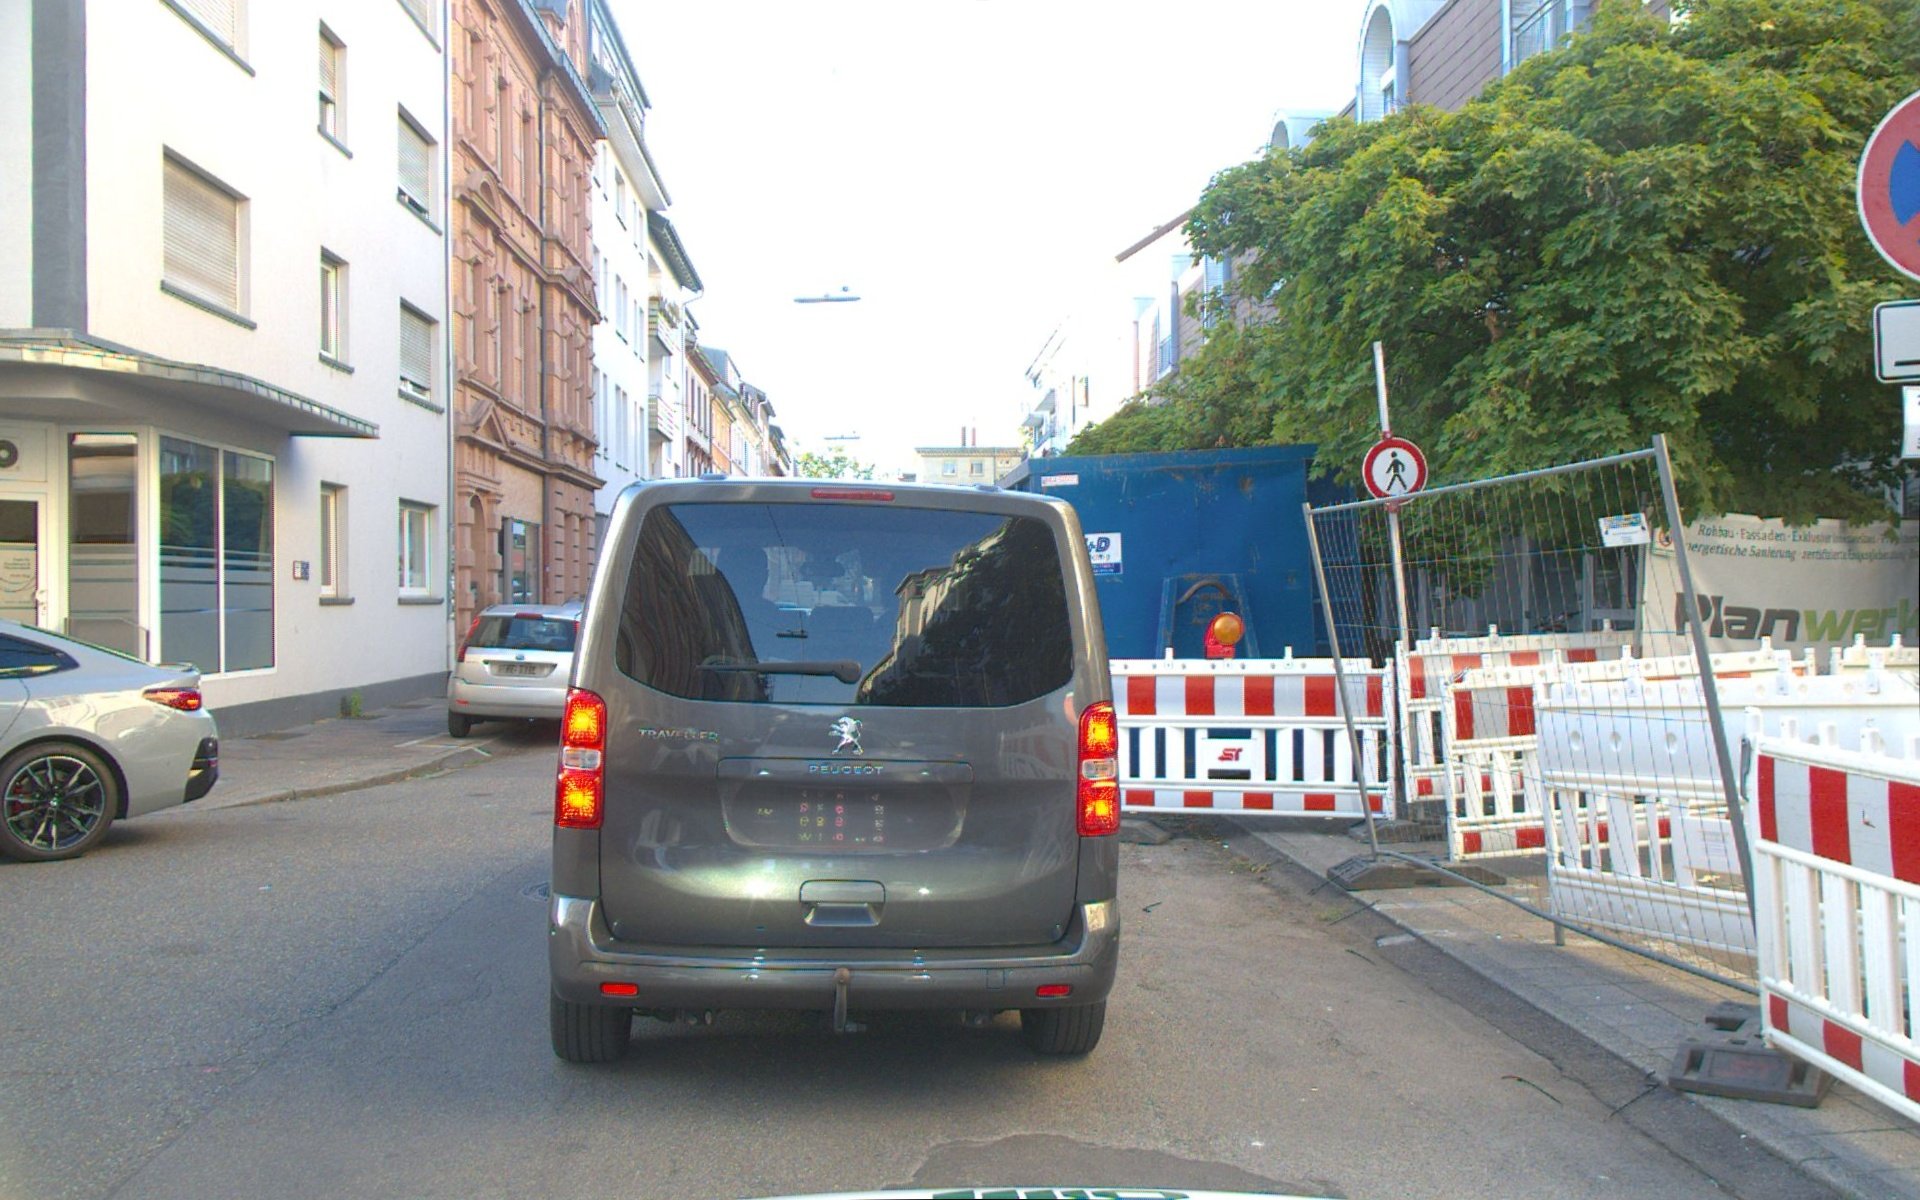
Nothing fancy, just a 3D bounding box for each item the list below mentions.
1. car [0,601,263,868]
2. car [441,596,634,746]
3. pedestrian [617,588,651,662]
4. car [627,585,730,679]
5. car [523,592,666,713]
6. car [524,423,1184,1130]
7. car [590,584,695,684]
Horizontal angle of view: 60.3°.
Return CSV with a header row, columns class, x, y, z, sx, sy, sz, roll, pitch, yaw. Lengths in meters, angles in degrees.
class,x,y,z,sx,sy,sz,roll,pitch,yaw
car,-6.687,0.769,9.301,4.770,1.477,1.904,-1,0,-42
car,-4.810,0.771,19.247,1.625,1.485,3.413,4,-1,-7
pedestrian,-7.592,0.574,38.539,0.726,1.693,0.702,-1,0,-8
car,-5.937,0.667,35.266,1.856,1.749,3.748,4,-1,-7
car,-5.352,0.741,24.547,1.625,1.552,3.413,4,-1,-7
car,-0.513,0.502,6.715,1.829,1.919,4.229,0,-1,-7
car,-6.022,0.637,31.621,1.635,1.695,3.087,4,-1,-7
